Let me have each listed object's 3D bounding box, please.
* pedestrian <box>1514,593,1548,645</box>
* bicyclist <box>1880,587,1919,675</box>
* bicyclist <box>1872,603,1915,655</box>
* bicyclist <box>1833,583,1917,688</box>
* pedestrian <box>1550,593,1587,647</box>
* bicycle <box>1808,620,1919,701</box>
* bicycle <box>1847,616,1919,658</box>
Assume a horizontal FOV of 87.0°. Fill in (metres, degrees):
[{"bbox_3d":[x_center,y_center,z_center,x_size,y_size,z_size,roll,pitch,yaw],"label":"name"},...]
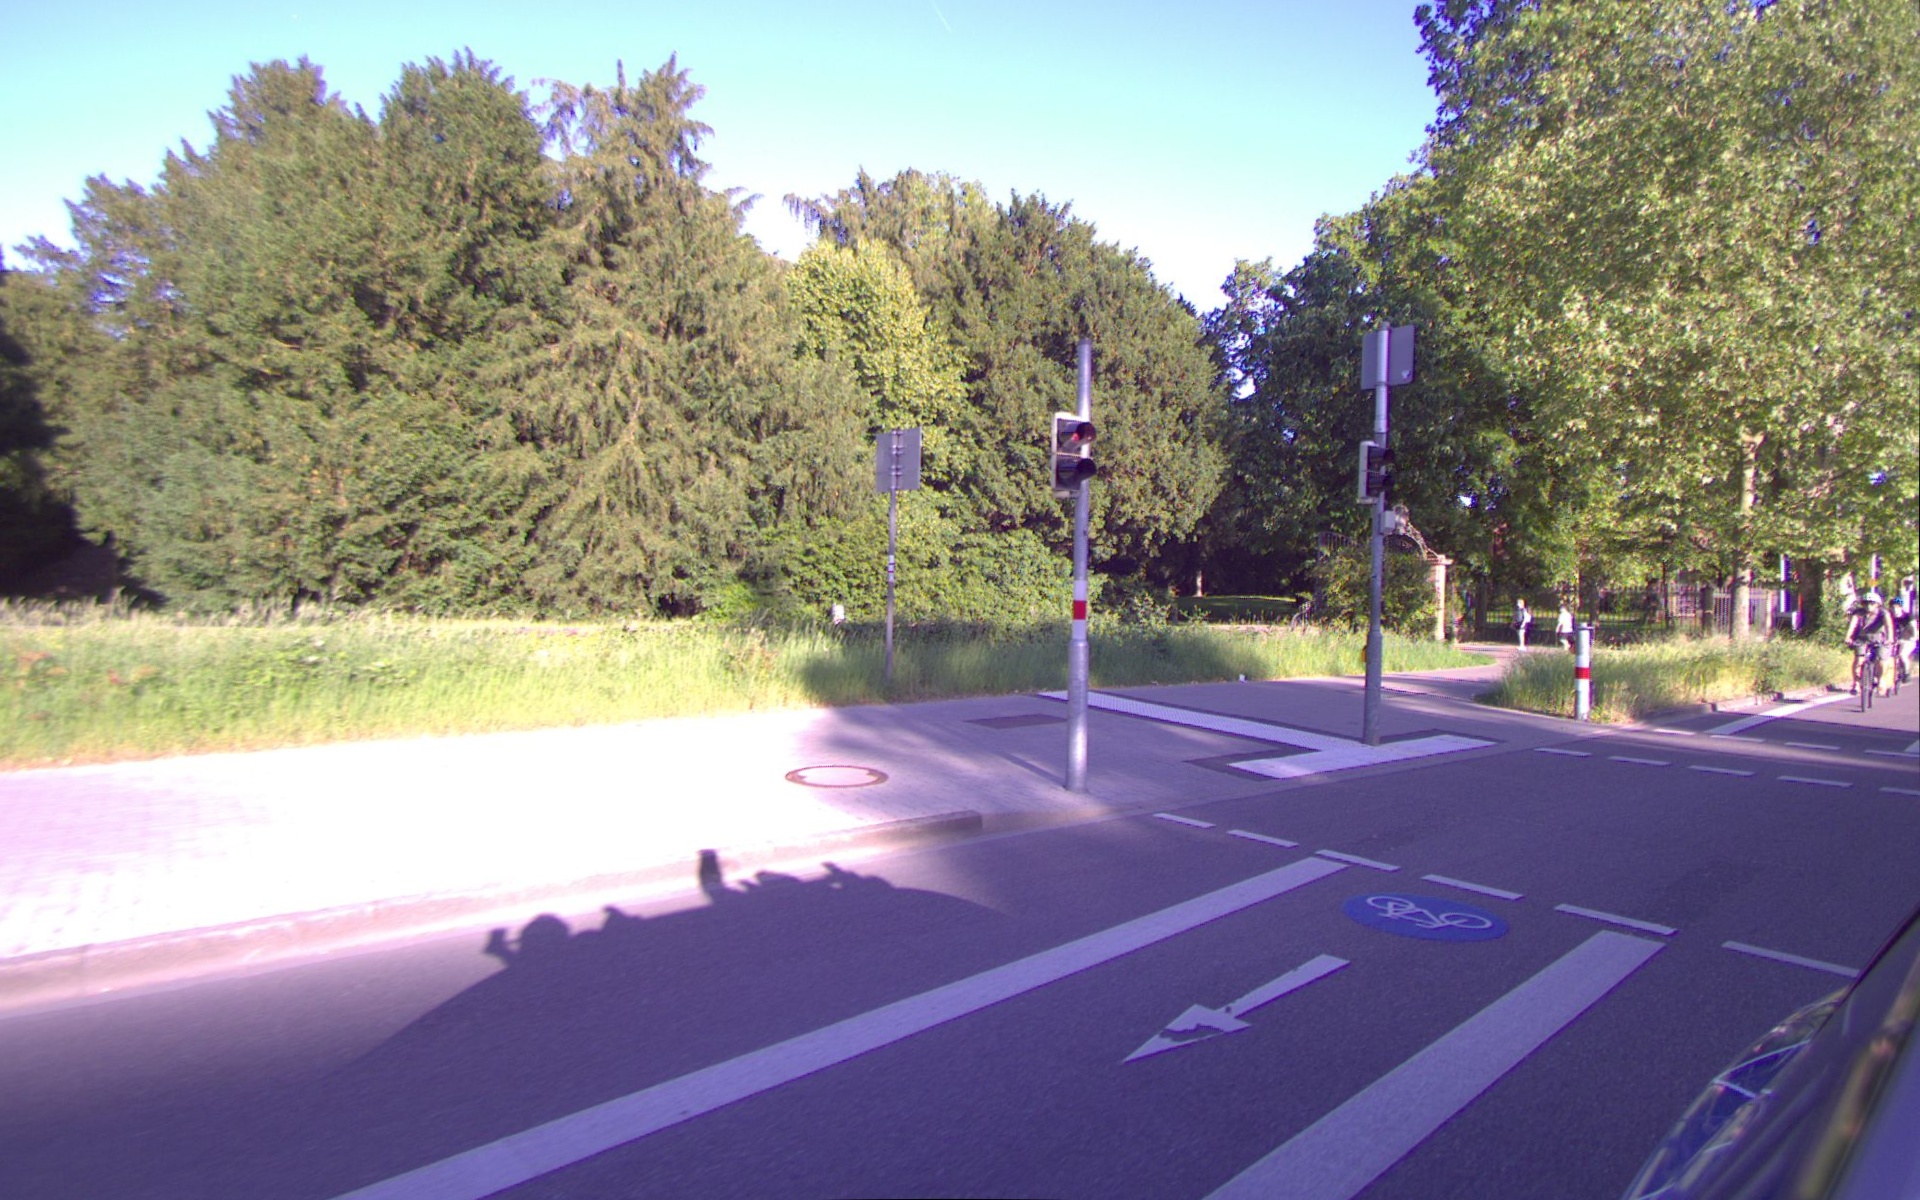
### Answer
[{"bbox_3d":[18.437,0.609,32.677,0.667,1.653,0.693,1,1,-32],"label":"pedestrian"},{"bbox_3d":[16.971,0.544,18.080,0.878,1.520,0.694,0,1,-44],"label":"bicyclist"},{"bbox_3d":[27.133,0.842,29.415,0.682,1.465,0.767,1,1,-34],"label":"bicyclist"},{"bbox_3d":[13.695,0.510,15.154,0.784,1.509,0.696,1,1,-30],"label":"bicyclist"},{"bbox_3d":[18.058,0.587,30.032,0.667,1.565,0.693,1,1,-32],"label":"pedestrian"},{"bbox_3d":[13.561,0.867,15.100,2.093,1.109,0.696,1,1,-30],"label":"bicycle"},{"bbox_3d":[27.166,1.077,29.371,0.682,1.109,1.992,1,1,-33],"label":"bicycle"}]
